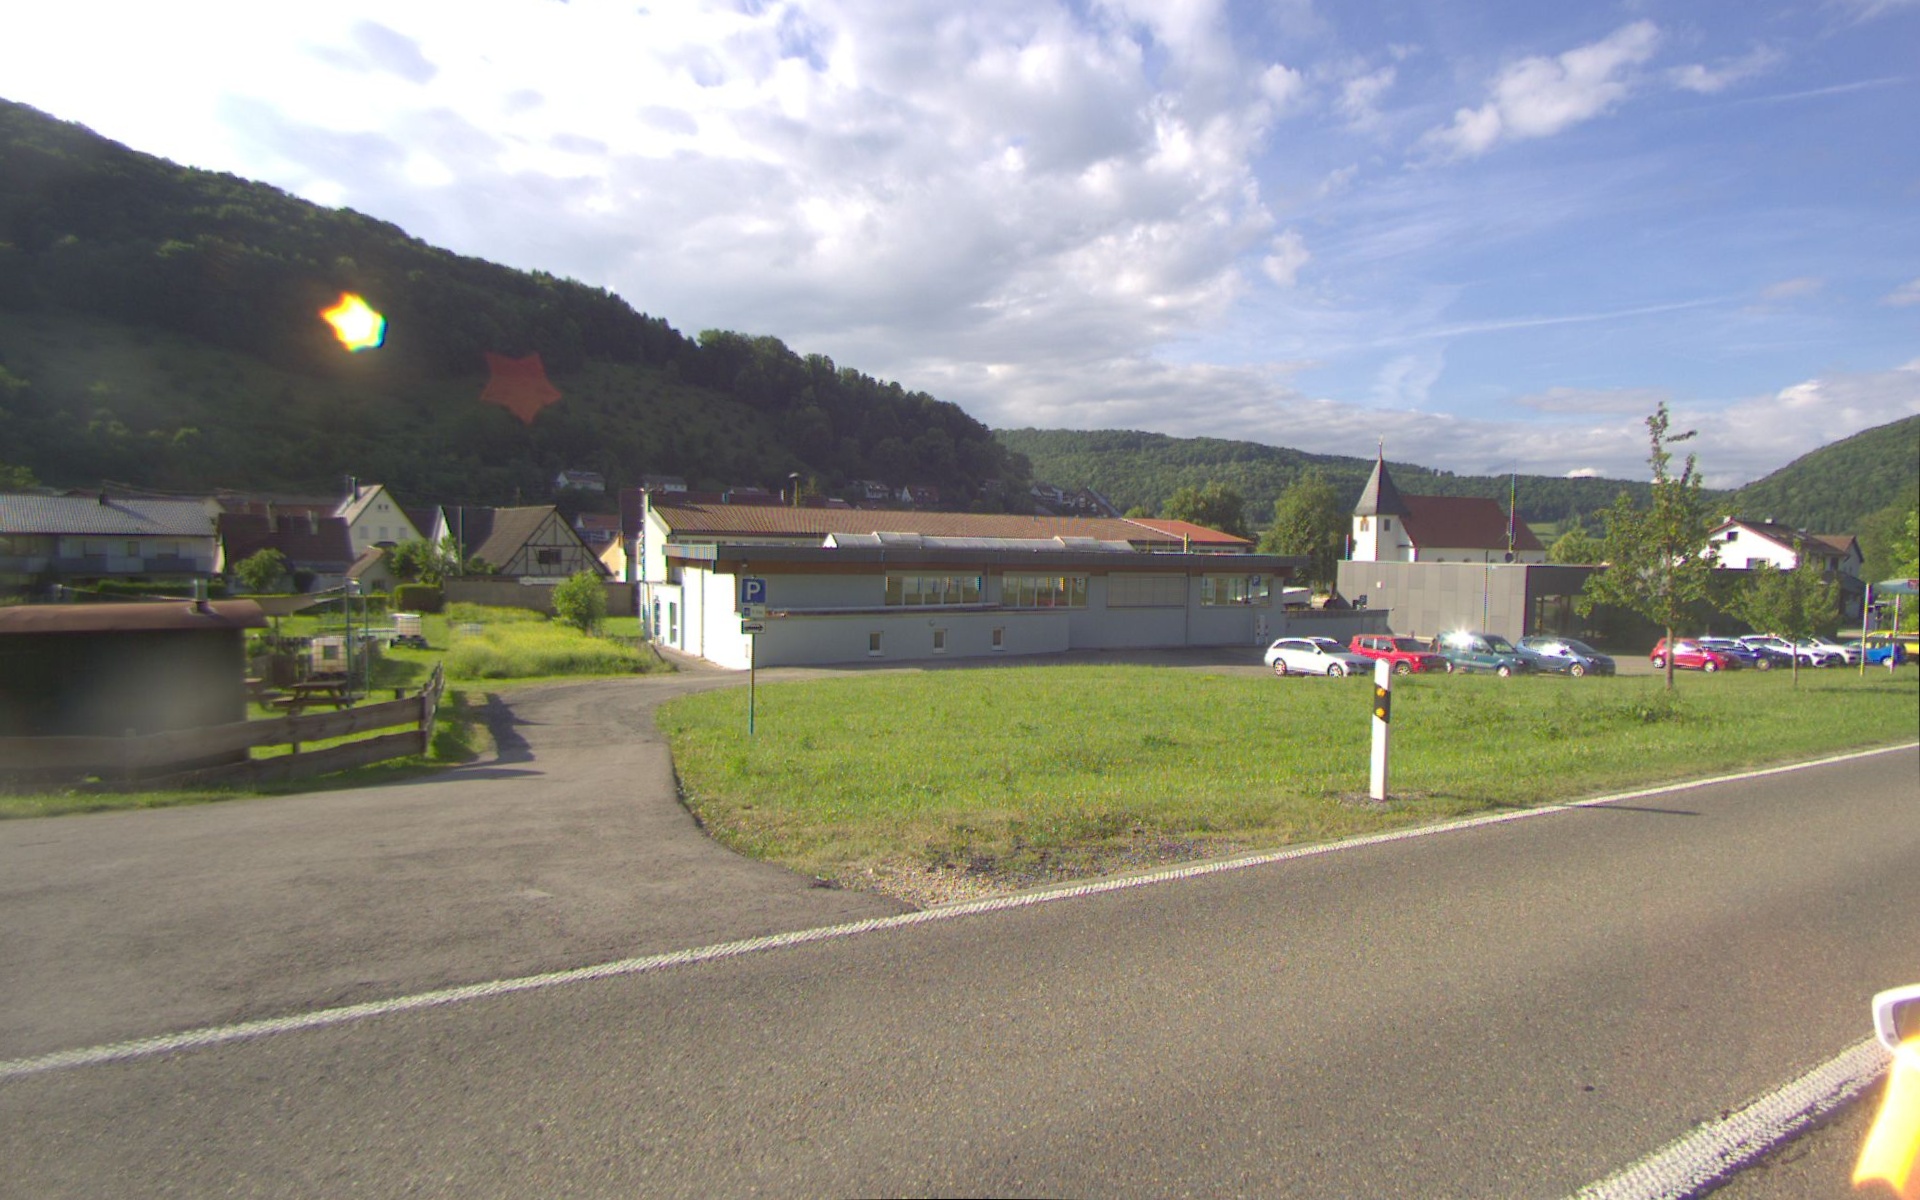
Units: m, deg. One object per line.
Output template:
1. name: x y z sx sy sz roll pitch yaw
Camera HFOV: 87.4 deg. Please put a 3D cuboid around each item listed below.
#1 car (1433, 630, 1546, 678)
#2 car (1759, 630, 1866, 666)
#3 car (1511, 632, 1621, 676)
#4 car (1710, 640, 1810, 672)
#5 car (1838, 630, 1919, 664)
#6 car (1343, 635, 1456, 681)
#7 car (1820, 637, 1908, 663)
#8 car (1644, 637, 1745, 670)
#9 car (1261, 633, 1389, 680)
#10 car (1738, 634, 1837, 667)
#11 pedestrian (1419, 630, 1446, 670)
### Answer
1. car: 22.003 2.211 41.887 1.733 1.745 3.847 1 0 -27
2. car: 45.258 2.530 53.438 1.574 1.695 4.066 -1 0 -24
3. car: 26.293 2.301 43.683 1.708 1.744 3.807 1 -1 -25
4. car: 39.746 2.739 49.994 1.574 1.424 3.615 1 -1 -24
5. car: 53.042 2.655 56.999 1.815 1.839 4.542 1 -1 -24
6. car: 17.148 2.240 39.381 1.732 1.600 3.908 1 -1 -25
7. car: 50.594 2.773 56.249 1.641 1.392 3.352 1 -1 -31
8. car: 35.165 2.538 48.163 1.625 1.463 3.615 1 -1 -24
9. car: 14.050 2.150 38.952 1.973 1.610 4.627 1 -1 -25
10. car: 42.555 2.566 51.746 1.574 1.513 3.657 0 -1 -24
11. pedestrian: 21.082 2.234 44.829 0.698 1.716 0.789 1 1 -36
